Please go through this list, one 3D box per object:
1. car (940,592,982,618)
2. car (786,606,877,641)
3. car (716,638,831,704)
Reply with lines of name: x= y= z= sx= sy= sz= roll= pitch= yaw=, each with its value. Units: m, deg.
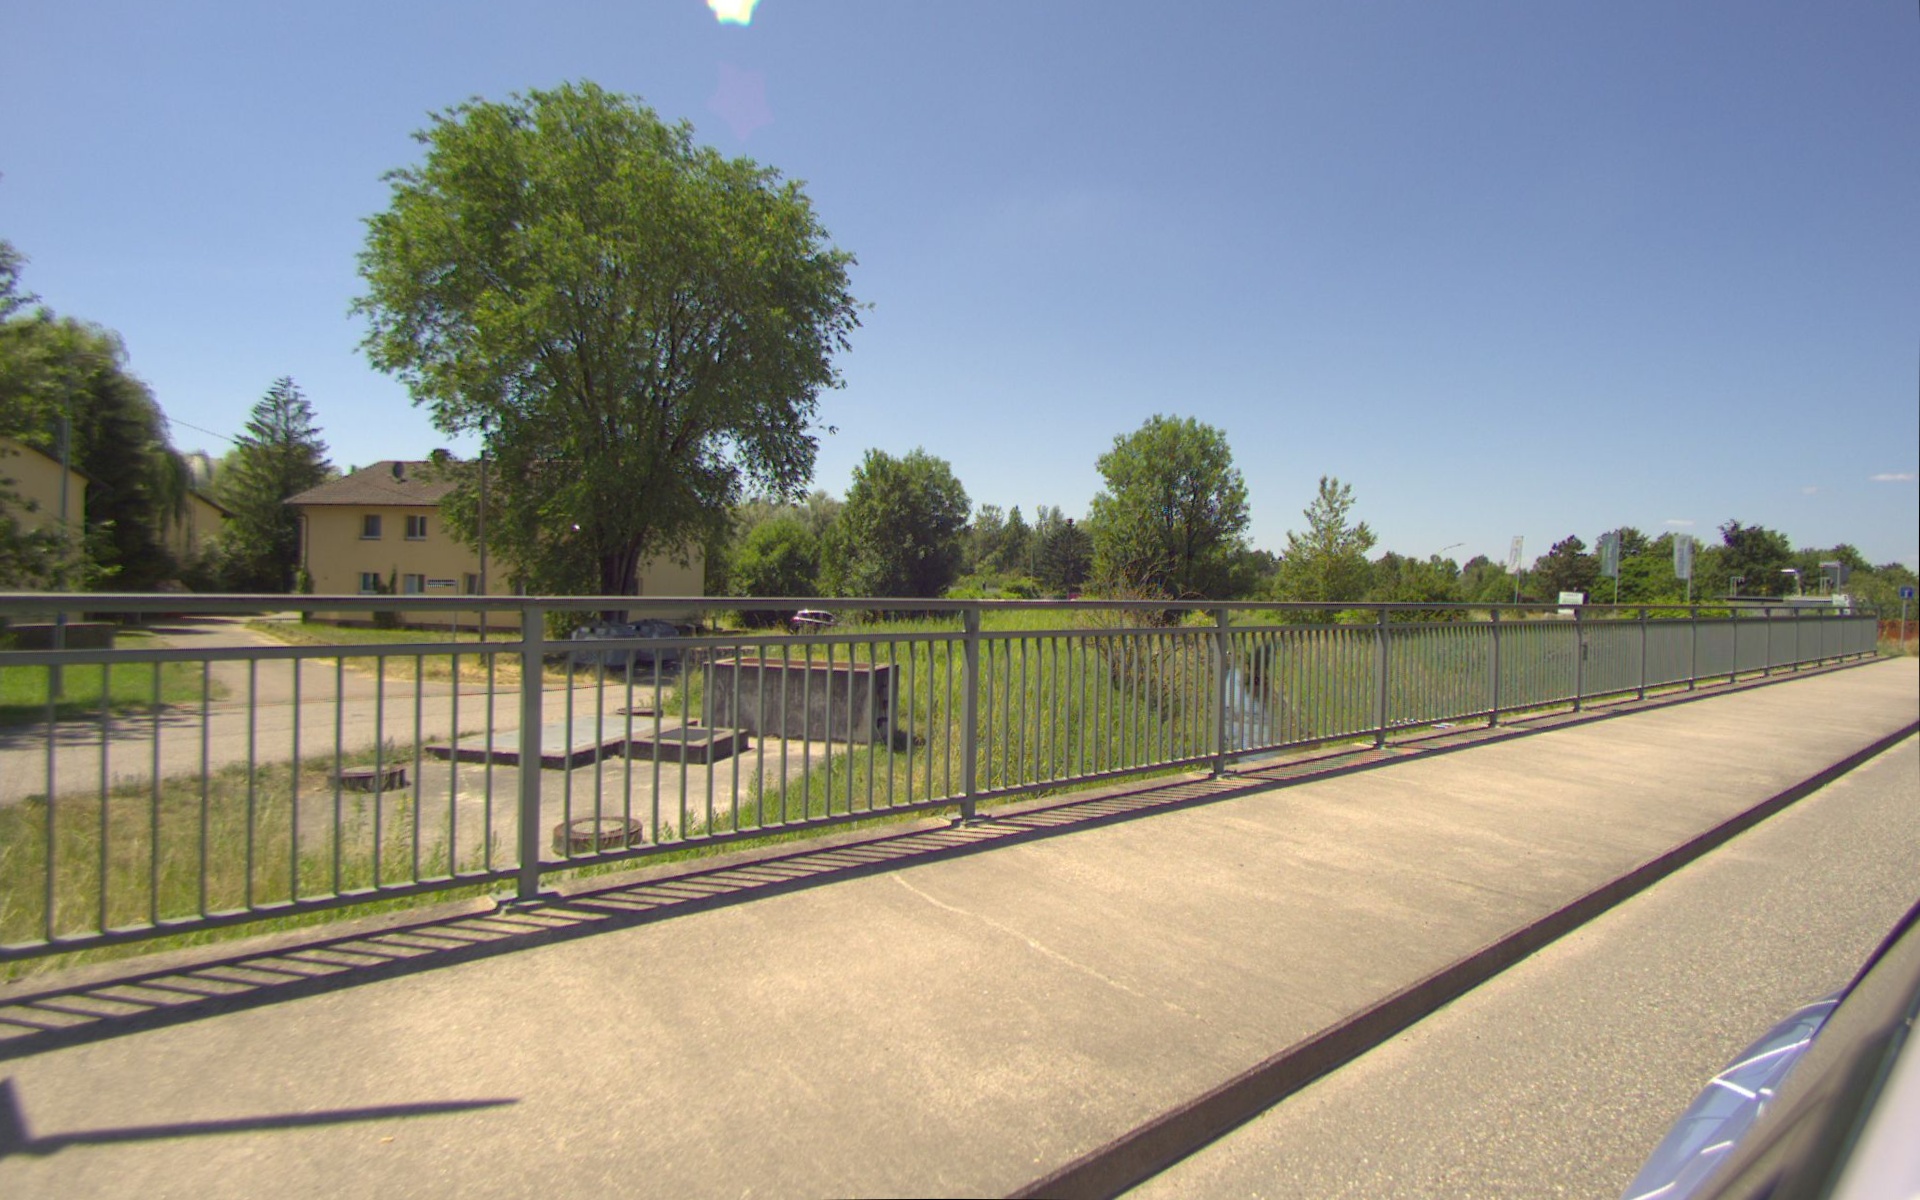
car: x=0.111 y=0.320 z=69.462 sx=1.969 sy=1.644 sz=4.496 roll=2 pitch=1 yaw=12
car: x=-6.852 y=1.212 z=54.095 sx=4.443 sy=1.644 sz=1.993 roll=2 pitch=1 yaw=12
car: x=-5.749 y=2.165 z=31.841 sx=1.969 sy=1.644 sz=4.496 roll=2 pitch=1 yaw=12
